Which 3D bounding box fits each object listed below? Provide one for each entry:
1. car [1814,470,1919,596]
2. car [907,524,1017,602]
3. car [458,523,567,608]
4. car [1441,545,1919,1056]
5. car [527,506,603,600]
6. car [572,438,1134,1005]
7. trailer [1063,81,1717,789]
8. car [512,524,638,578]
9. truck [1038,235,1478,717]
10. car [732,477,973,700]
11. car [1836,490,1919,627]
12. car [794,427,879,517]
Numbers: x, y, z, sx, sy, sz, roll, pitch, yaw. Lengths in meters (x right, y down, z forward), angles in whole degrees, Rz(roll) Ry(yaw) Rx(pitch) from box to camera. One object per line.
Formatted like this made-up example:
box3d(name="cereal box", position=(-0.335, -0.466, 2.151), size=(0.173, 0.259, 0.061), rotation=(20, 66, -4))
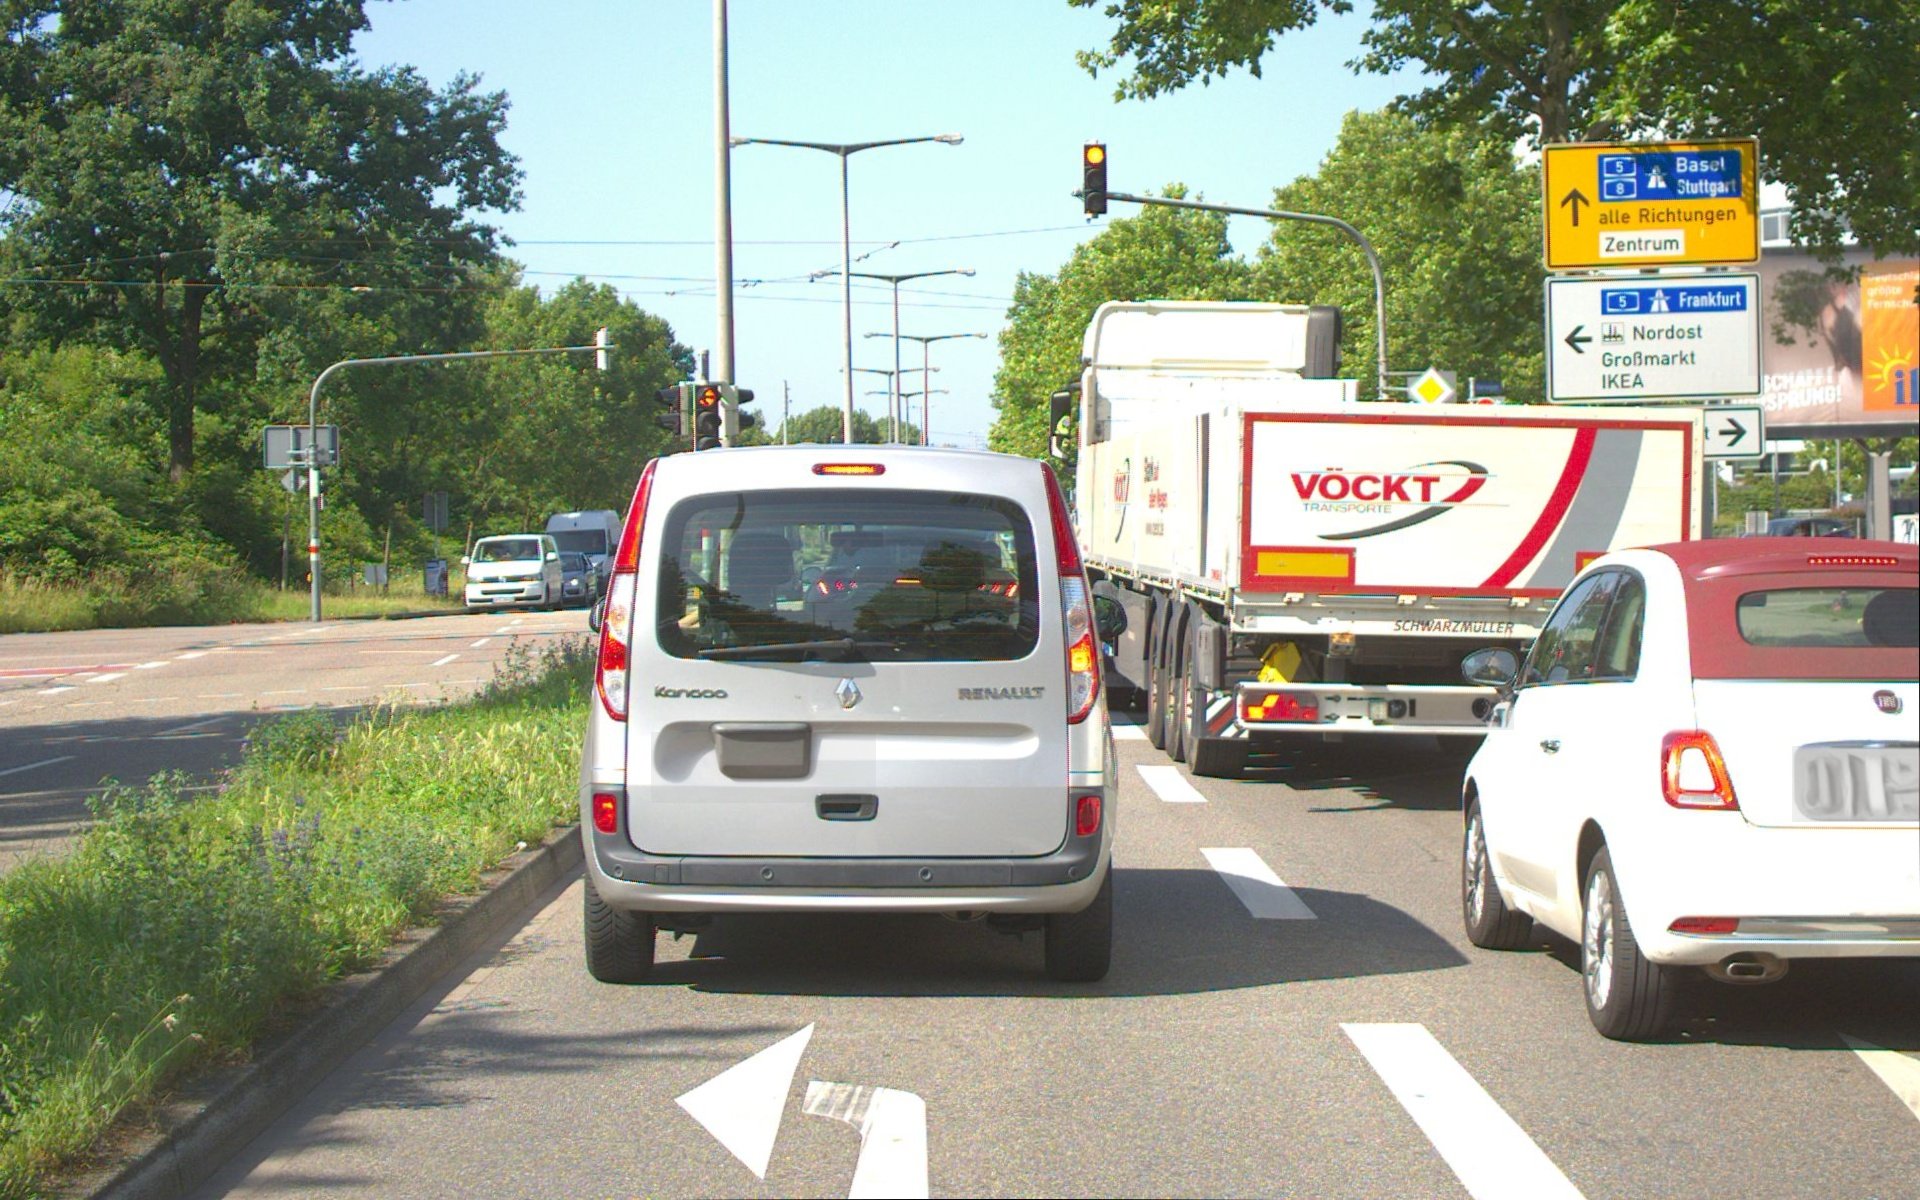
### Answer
box3d(name="car", position=(13.656, -0.895, 46.241), size=(3.987, 1.656, 1.723), rotation=(0, 1, 5))
box3d(name="car", position=(0.020, -0.809, 74.801), size=(1.993, 1.634, 4.001), rotation=(0, 1, -6))
box3d(name="car", position=(-10.695, -0.832, 82.560), size=(1.993, 1.884, 4.988), rotation=(-3, 1, -1))
box3d(name="car", position=(2.651, 0.540, 11.403), size=(1.661, 1.431, 3.520), rotation=(0, 1, 1))
box3d(name="car", position=(-11.249, -1.345, 97.938), size=(2.058, 2.605, 5.871), rotation=(0, 1, -7))
box3d(name="car", position=(-0.367, 0.353, 12.709), size=(1.749, 1.766, 3.949), rotation=(0, 1, -1))
box3d(name="trailer", position=(2.453, -0.956, 24.290), size=(3.016, 3.728, 12.240), rotation=(0, 1, 0))
box3d(name="car", position=(-10.163, -1.292, 90.584), size=(1.911, 1.404, 4.228), rotation=(0, 1, -27))
box3d(name="truck", position=(2.410, -1.014, 30.547), size=(3.071, 3.745, 7.477), rotation=(0, 1, -1))
box3d(name="car", position=(-0.907, -0.116, 27.950), size=(1.809, 1.678, 4.001), rotation=(0, 1, -3))
box3d(name="car", position=(13.013, -0.508, 42.540), size=(3.987, 1.656, 1.723), rotation=(0, 1, 5))
box3d(name="car", position=(-2.920, -2.975, 80.605), size=(1.713, 2.007, 4.001), rotation=(0, 1, -6))
